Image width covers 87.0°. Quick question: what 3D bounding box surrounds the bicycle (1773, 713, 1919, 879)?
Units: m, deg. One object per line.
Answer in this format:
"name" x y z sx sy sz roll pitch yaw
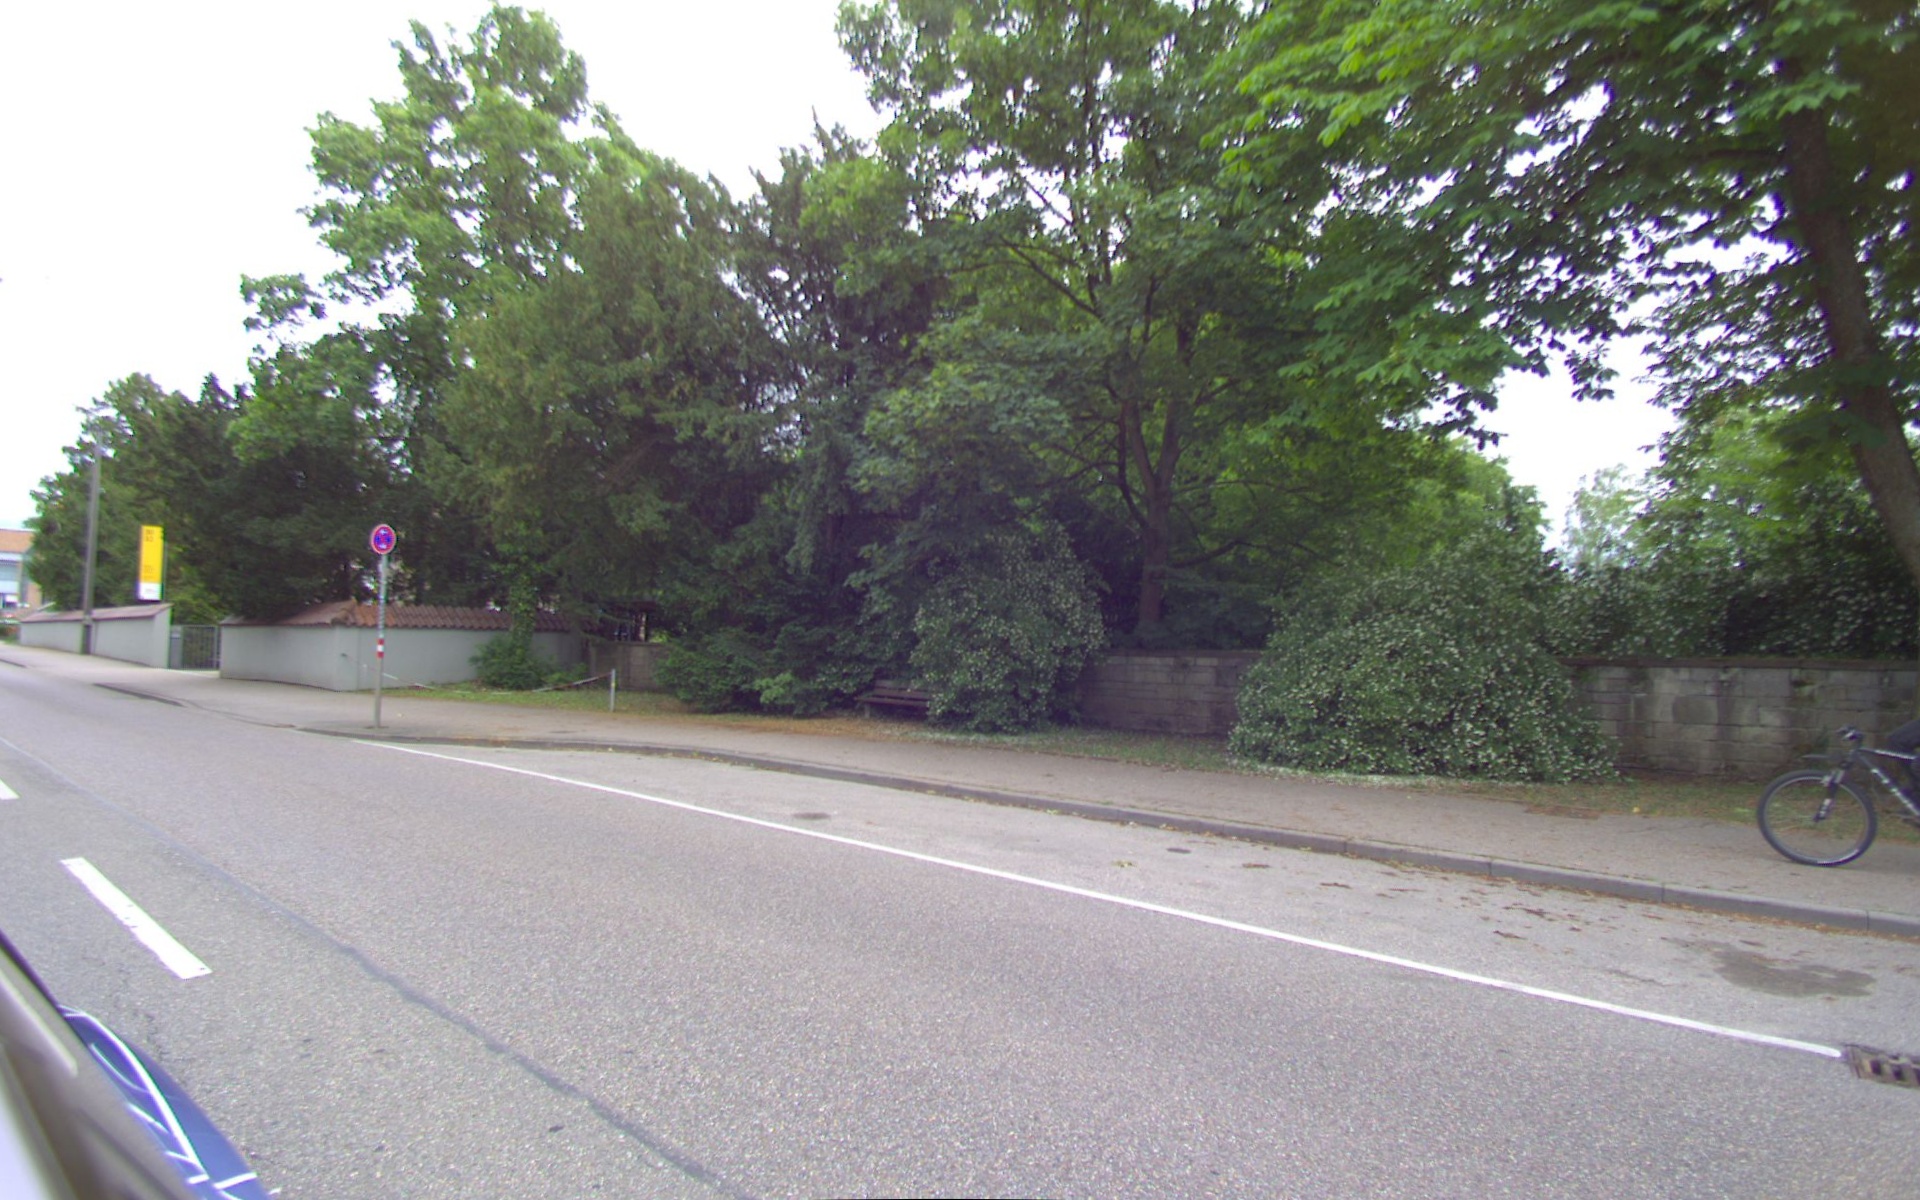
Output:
"bicycle" 6.428 1.301 6.590 1.747 0.972 0.490 -1 0 41
